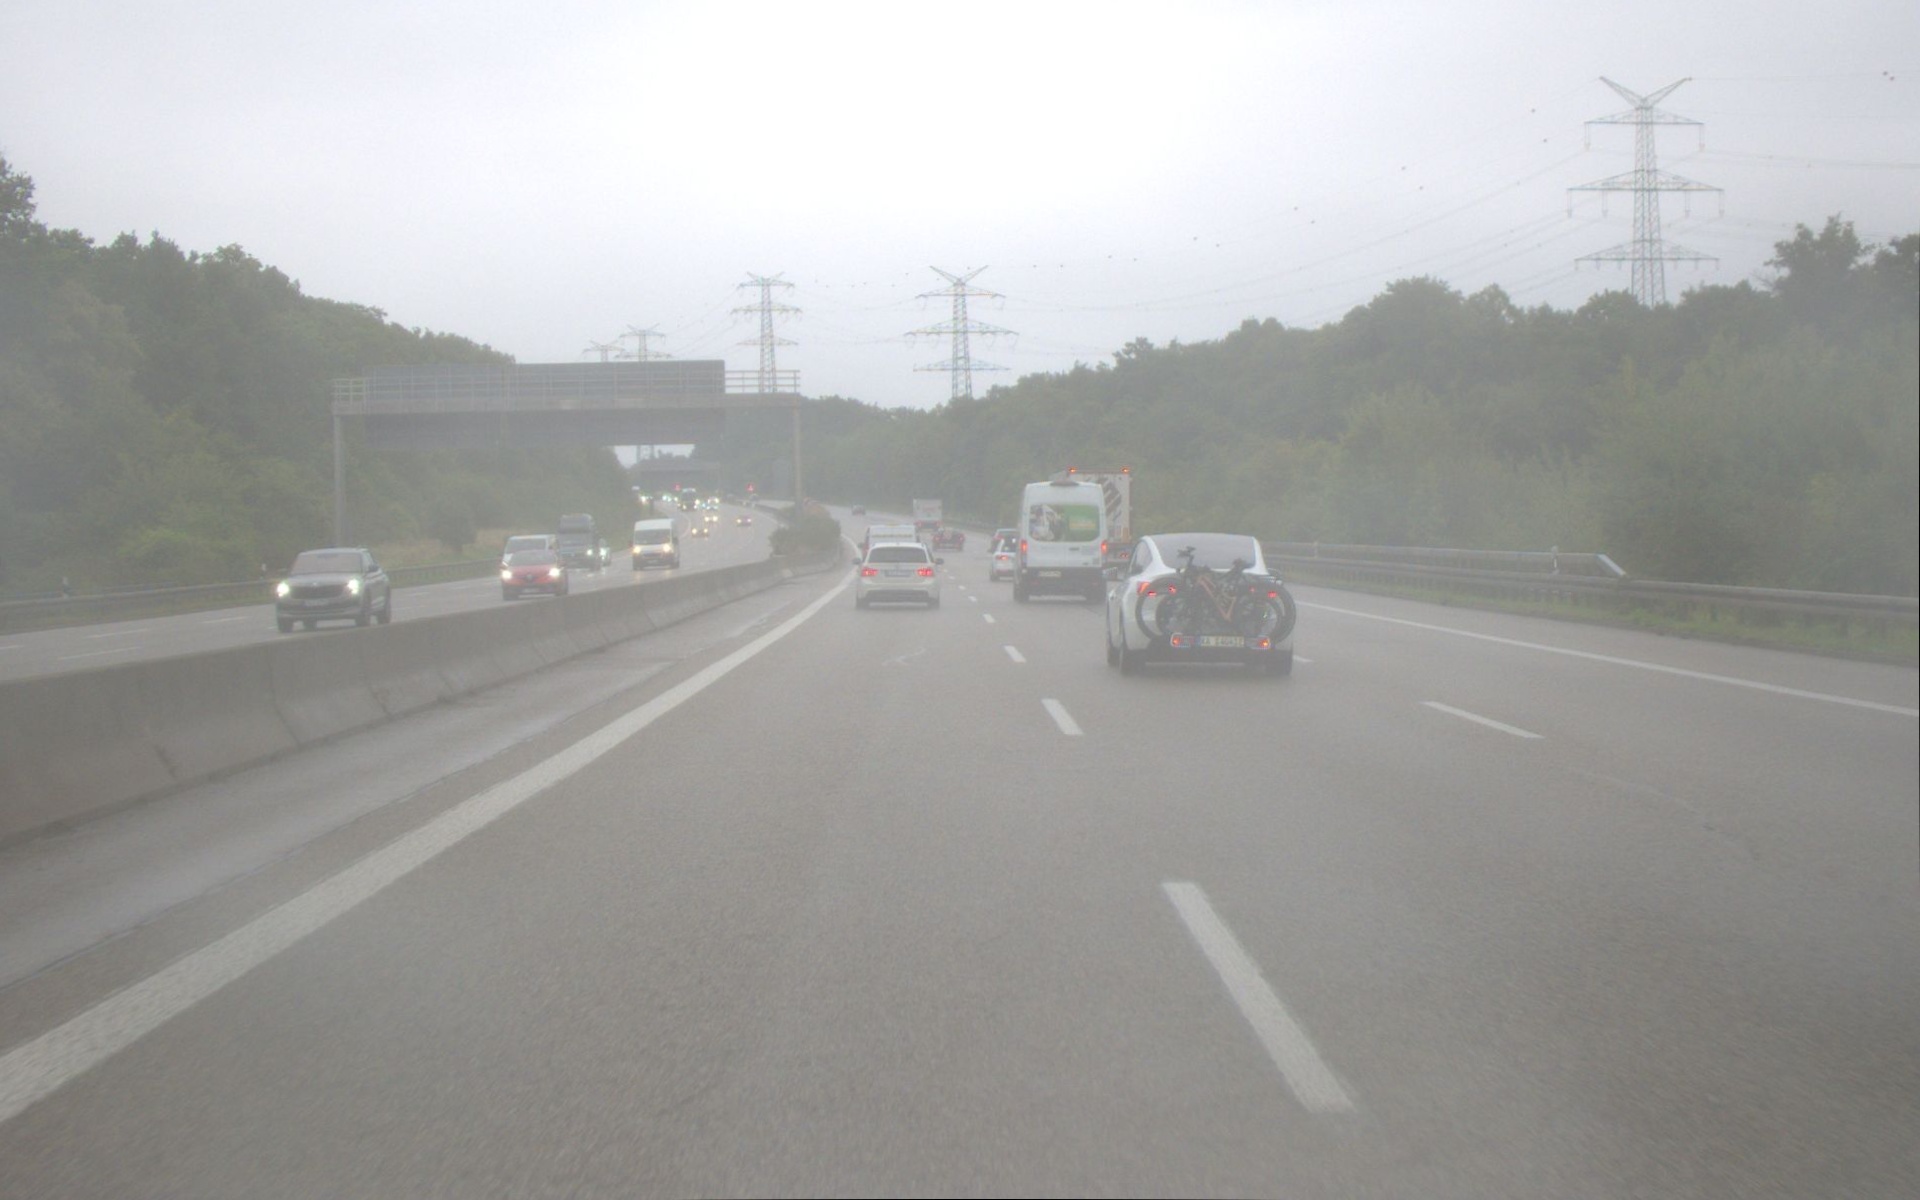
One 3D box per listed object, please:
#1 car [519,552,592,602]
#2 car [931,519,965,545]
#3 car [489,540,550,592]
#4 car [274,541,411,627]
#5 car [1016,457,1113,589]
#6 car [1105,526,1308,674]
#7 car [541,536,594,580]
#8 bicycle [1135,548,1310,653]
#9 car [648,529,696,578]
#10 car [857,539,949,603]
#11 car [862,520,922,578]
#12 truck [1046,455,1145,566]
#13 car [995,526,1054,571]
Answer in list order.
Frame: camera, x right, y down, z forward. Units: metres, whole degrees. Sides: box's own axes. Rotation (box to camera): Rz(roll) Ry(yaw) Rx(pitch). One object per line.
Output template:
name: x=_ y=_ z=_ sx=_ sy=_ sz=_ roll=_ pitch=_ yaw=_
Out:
car: x=-12.034 y=-0.708 z=102.362 sx=1.634 sy=1.407 sz=4.367 roll=-1 pitch=1 yaw=0
car: x=-0.727 y=-4.202 z=213.132 sx=1.993 sy=1.568 sz=4.000 roll=-2 pitch=1 yaw=-1
car: x=-16.857 y=-1.320 z=131.683 sx=1.741 sy=1.897 sz=4.530 roll=-2 pitch=1 yaw=-1
car: x=-12.856 y=-0.361 z=71.851 sx=1.993 sy=1.682 sz=4.917 roll=-1 pitch=1 yaw=-1
car: x=2.377 y=-1.769 z=79.219 sx=1.993 sy=2.854 sz=4.000 roll=-3 pitch=1 yaw=0
car: x=2.751 y=-0.054 z=39.388 sx=1.860 sy=1.562 sz=4.964 roll=0 pitch=1 yaw=-1
car: x=-20.085 y=-2.175 z=176.160 sx=1.993 sy=2.160 sz=6.417 roll=-1 pitch=1 yaw=-1
bicycle: x=2.770 y=0.000 z=36.410 sx=1.753 sy=1.087 sz=0.914 roll=0 pitch=0 yaw=-1
car: x=-14.374 y=-2.317 z=171.282 sx=2.276 sy=2.323 sz=6.176 roll=-2 pitch=1 yaw=-5
car: x=-1.229 y=-0.641 z=73.148 sx=1.866 sy=1.284 sz=4.000 roll=-1 pitch=1 yaw=-1
car: x=-2.144 y=-1.607 z=108.623 sx=1.846 sy=1.766 sz=4.000 roll=1 pitch=1 yaw=-1
truck: x=5.482 y=-3.665 z=141.402 sx=3.603 sy=4.317 sz=13.200 roll=-1 pitch=1 yaw=0
car: x=2.104 y=-1.703 z=113.127 sx=1.857 sy=1.417 sz=4.000 roll=0 pitch=2 yaw=0
